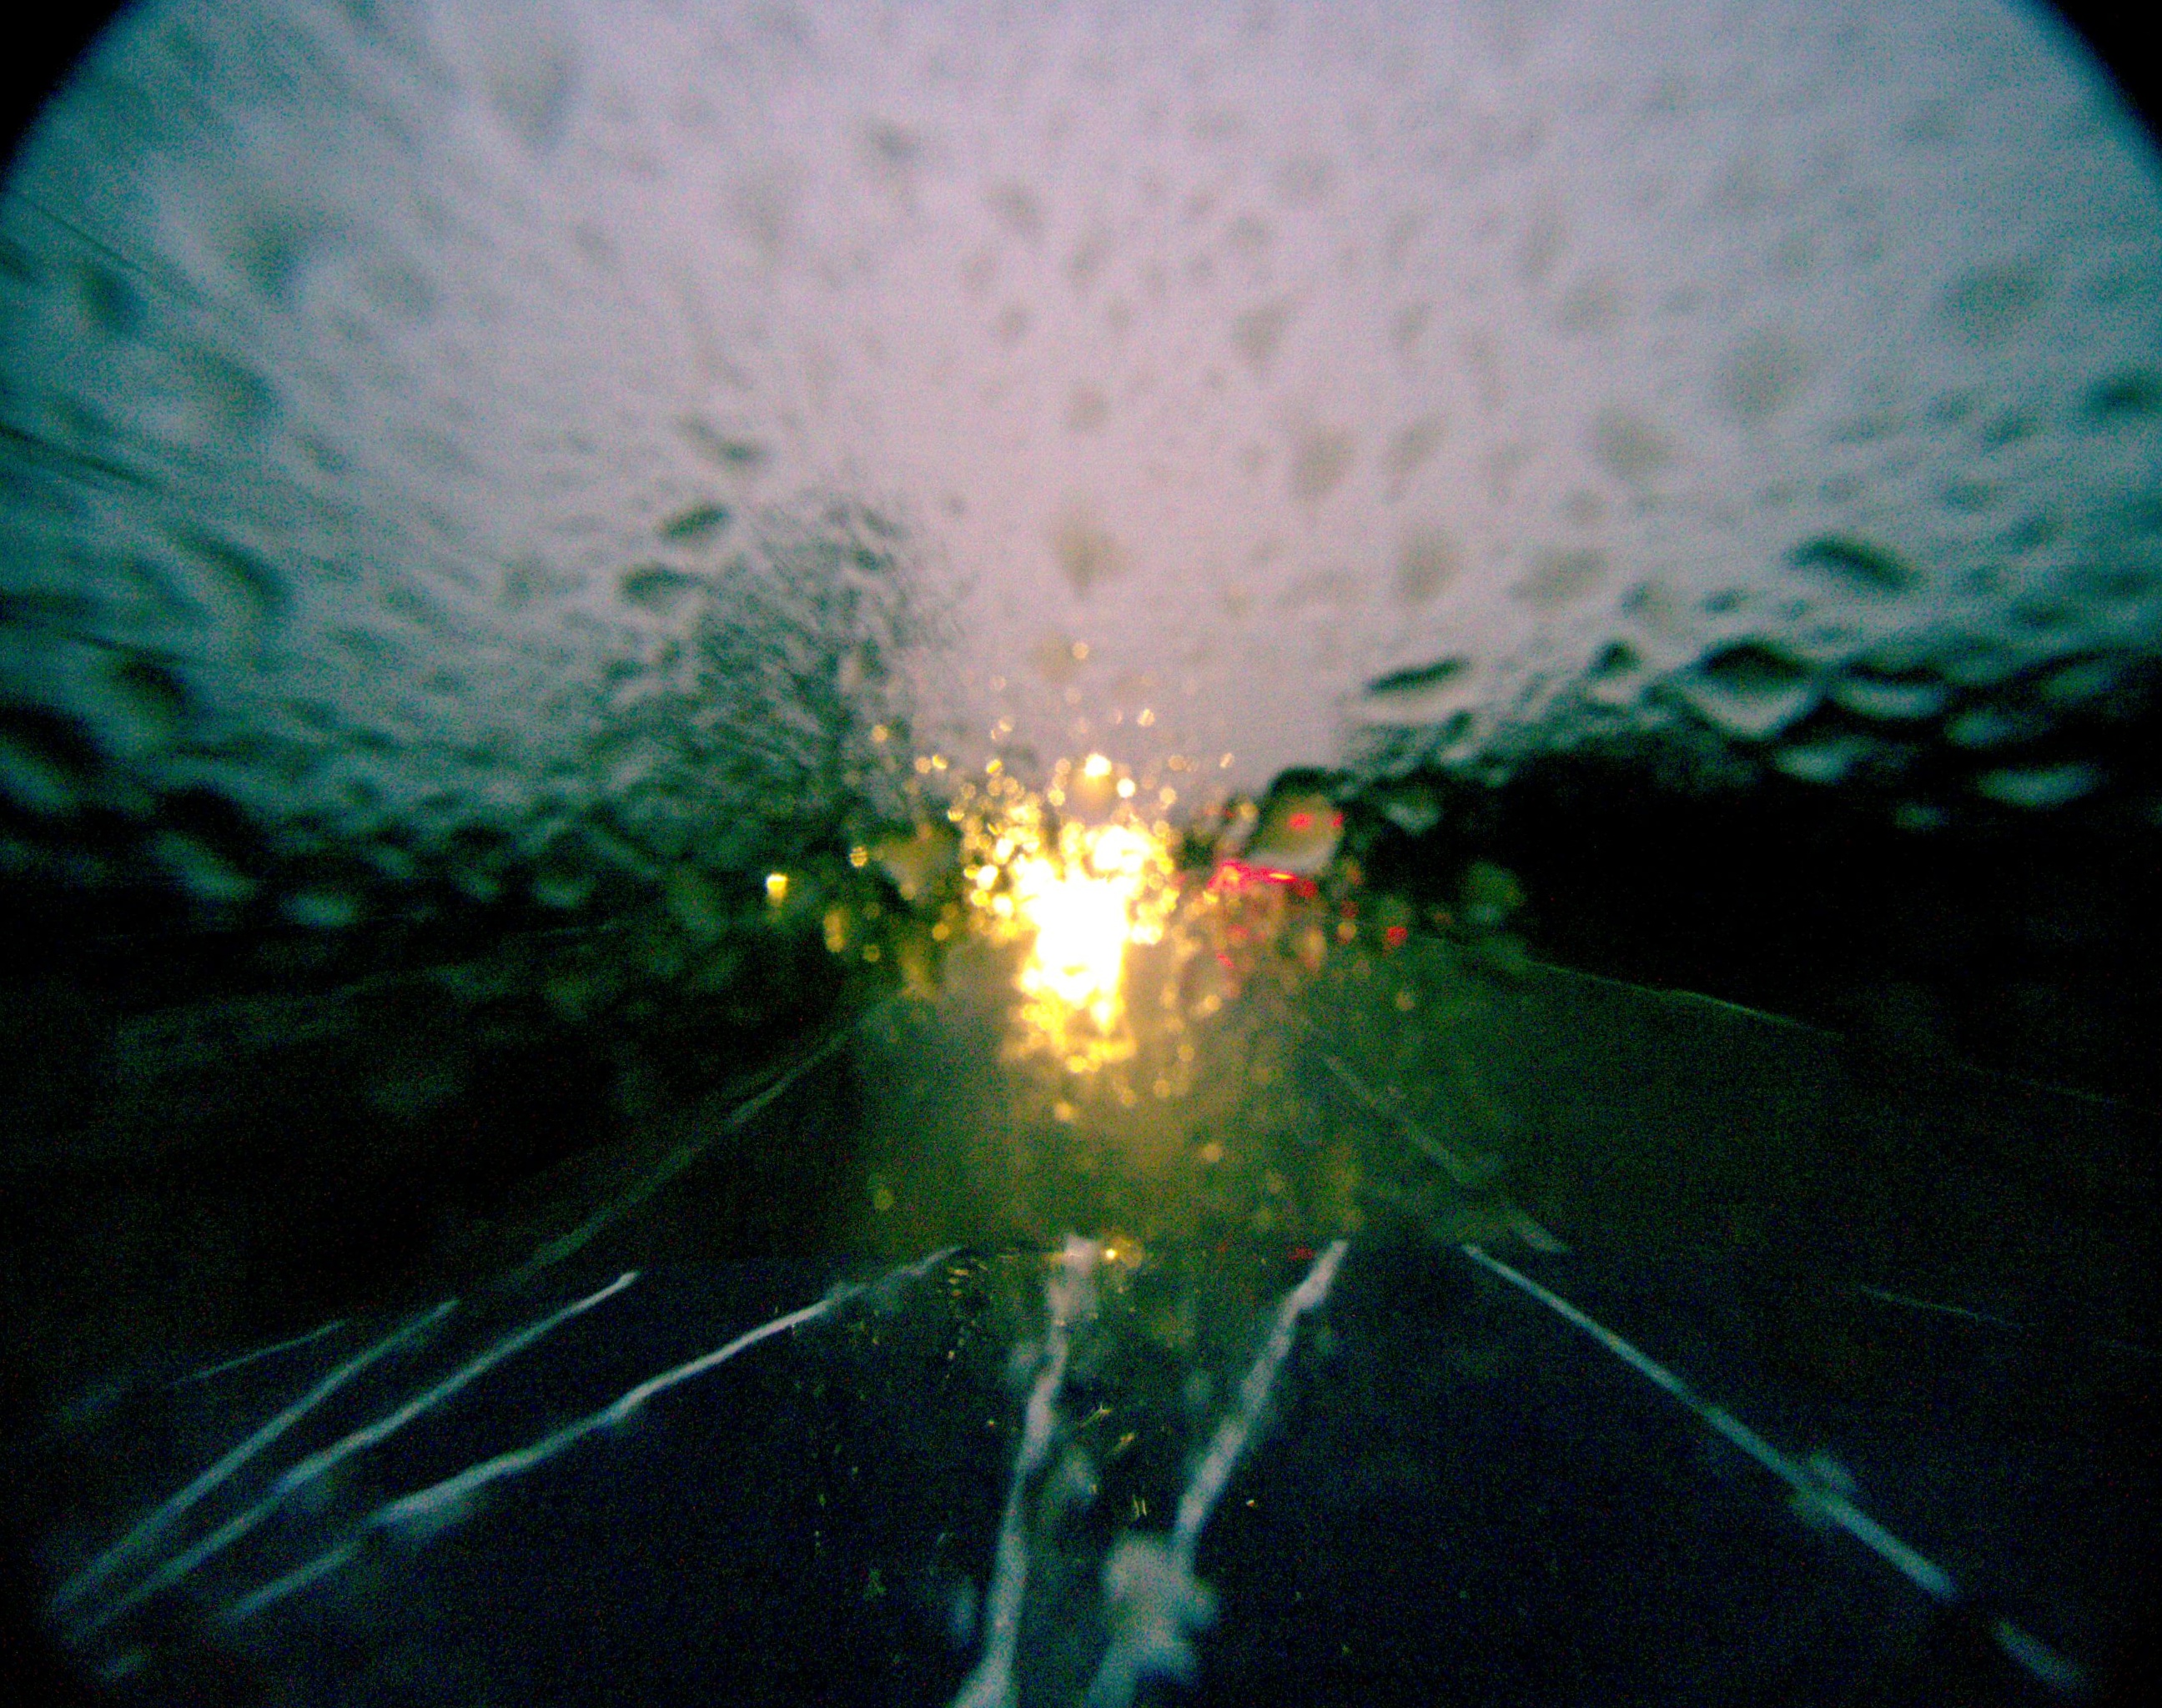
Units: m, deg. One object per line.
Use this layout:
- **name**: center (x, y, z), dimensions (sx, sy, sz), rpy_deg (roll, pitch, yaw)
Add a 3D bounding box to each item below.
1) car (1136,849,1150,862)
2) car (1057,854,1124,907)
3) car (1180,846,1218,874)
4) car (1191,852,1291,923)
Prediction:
- **car**: center (8.219, 0.178, 101.011), dimensions (1.780, 1.599, 3.774), rpy_deg (0, 0, 2)
- **car**: center (0.428, 0.842, 26.217), dimensions (1.998, 1.601, 4.001), rpy_deg (-2, 0, 4)
- **car**: center (8.091, 0.393, 52.412), dimensions (1.998, 1.774, 4.000), rpy_deg (-2, 0, 2)
- **car**: center (3.929, 0.753, 19.315), dimensions (1.695, 1.521, 4.085), rpy_deg (-2, 0, 1)
